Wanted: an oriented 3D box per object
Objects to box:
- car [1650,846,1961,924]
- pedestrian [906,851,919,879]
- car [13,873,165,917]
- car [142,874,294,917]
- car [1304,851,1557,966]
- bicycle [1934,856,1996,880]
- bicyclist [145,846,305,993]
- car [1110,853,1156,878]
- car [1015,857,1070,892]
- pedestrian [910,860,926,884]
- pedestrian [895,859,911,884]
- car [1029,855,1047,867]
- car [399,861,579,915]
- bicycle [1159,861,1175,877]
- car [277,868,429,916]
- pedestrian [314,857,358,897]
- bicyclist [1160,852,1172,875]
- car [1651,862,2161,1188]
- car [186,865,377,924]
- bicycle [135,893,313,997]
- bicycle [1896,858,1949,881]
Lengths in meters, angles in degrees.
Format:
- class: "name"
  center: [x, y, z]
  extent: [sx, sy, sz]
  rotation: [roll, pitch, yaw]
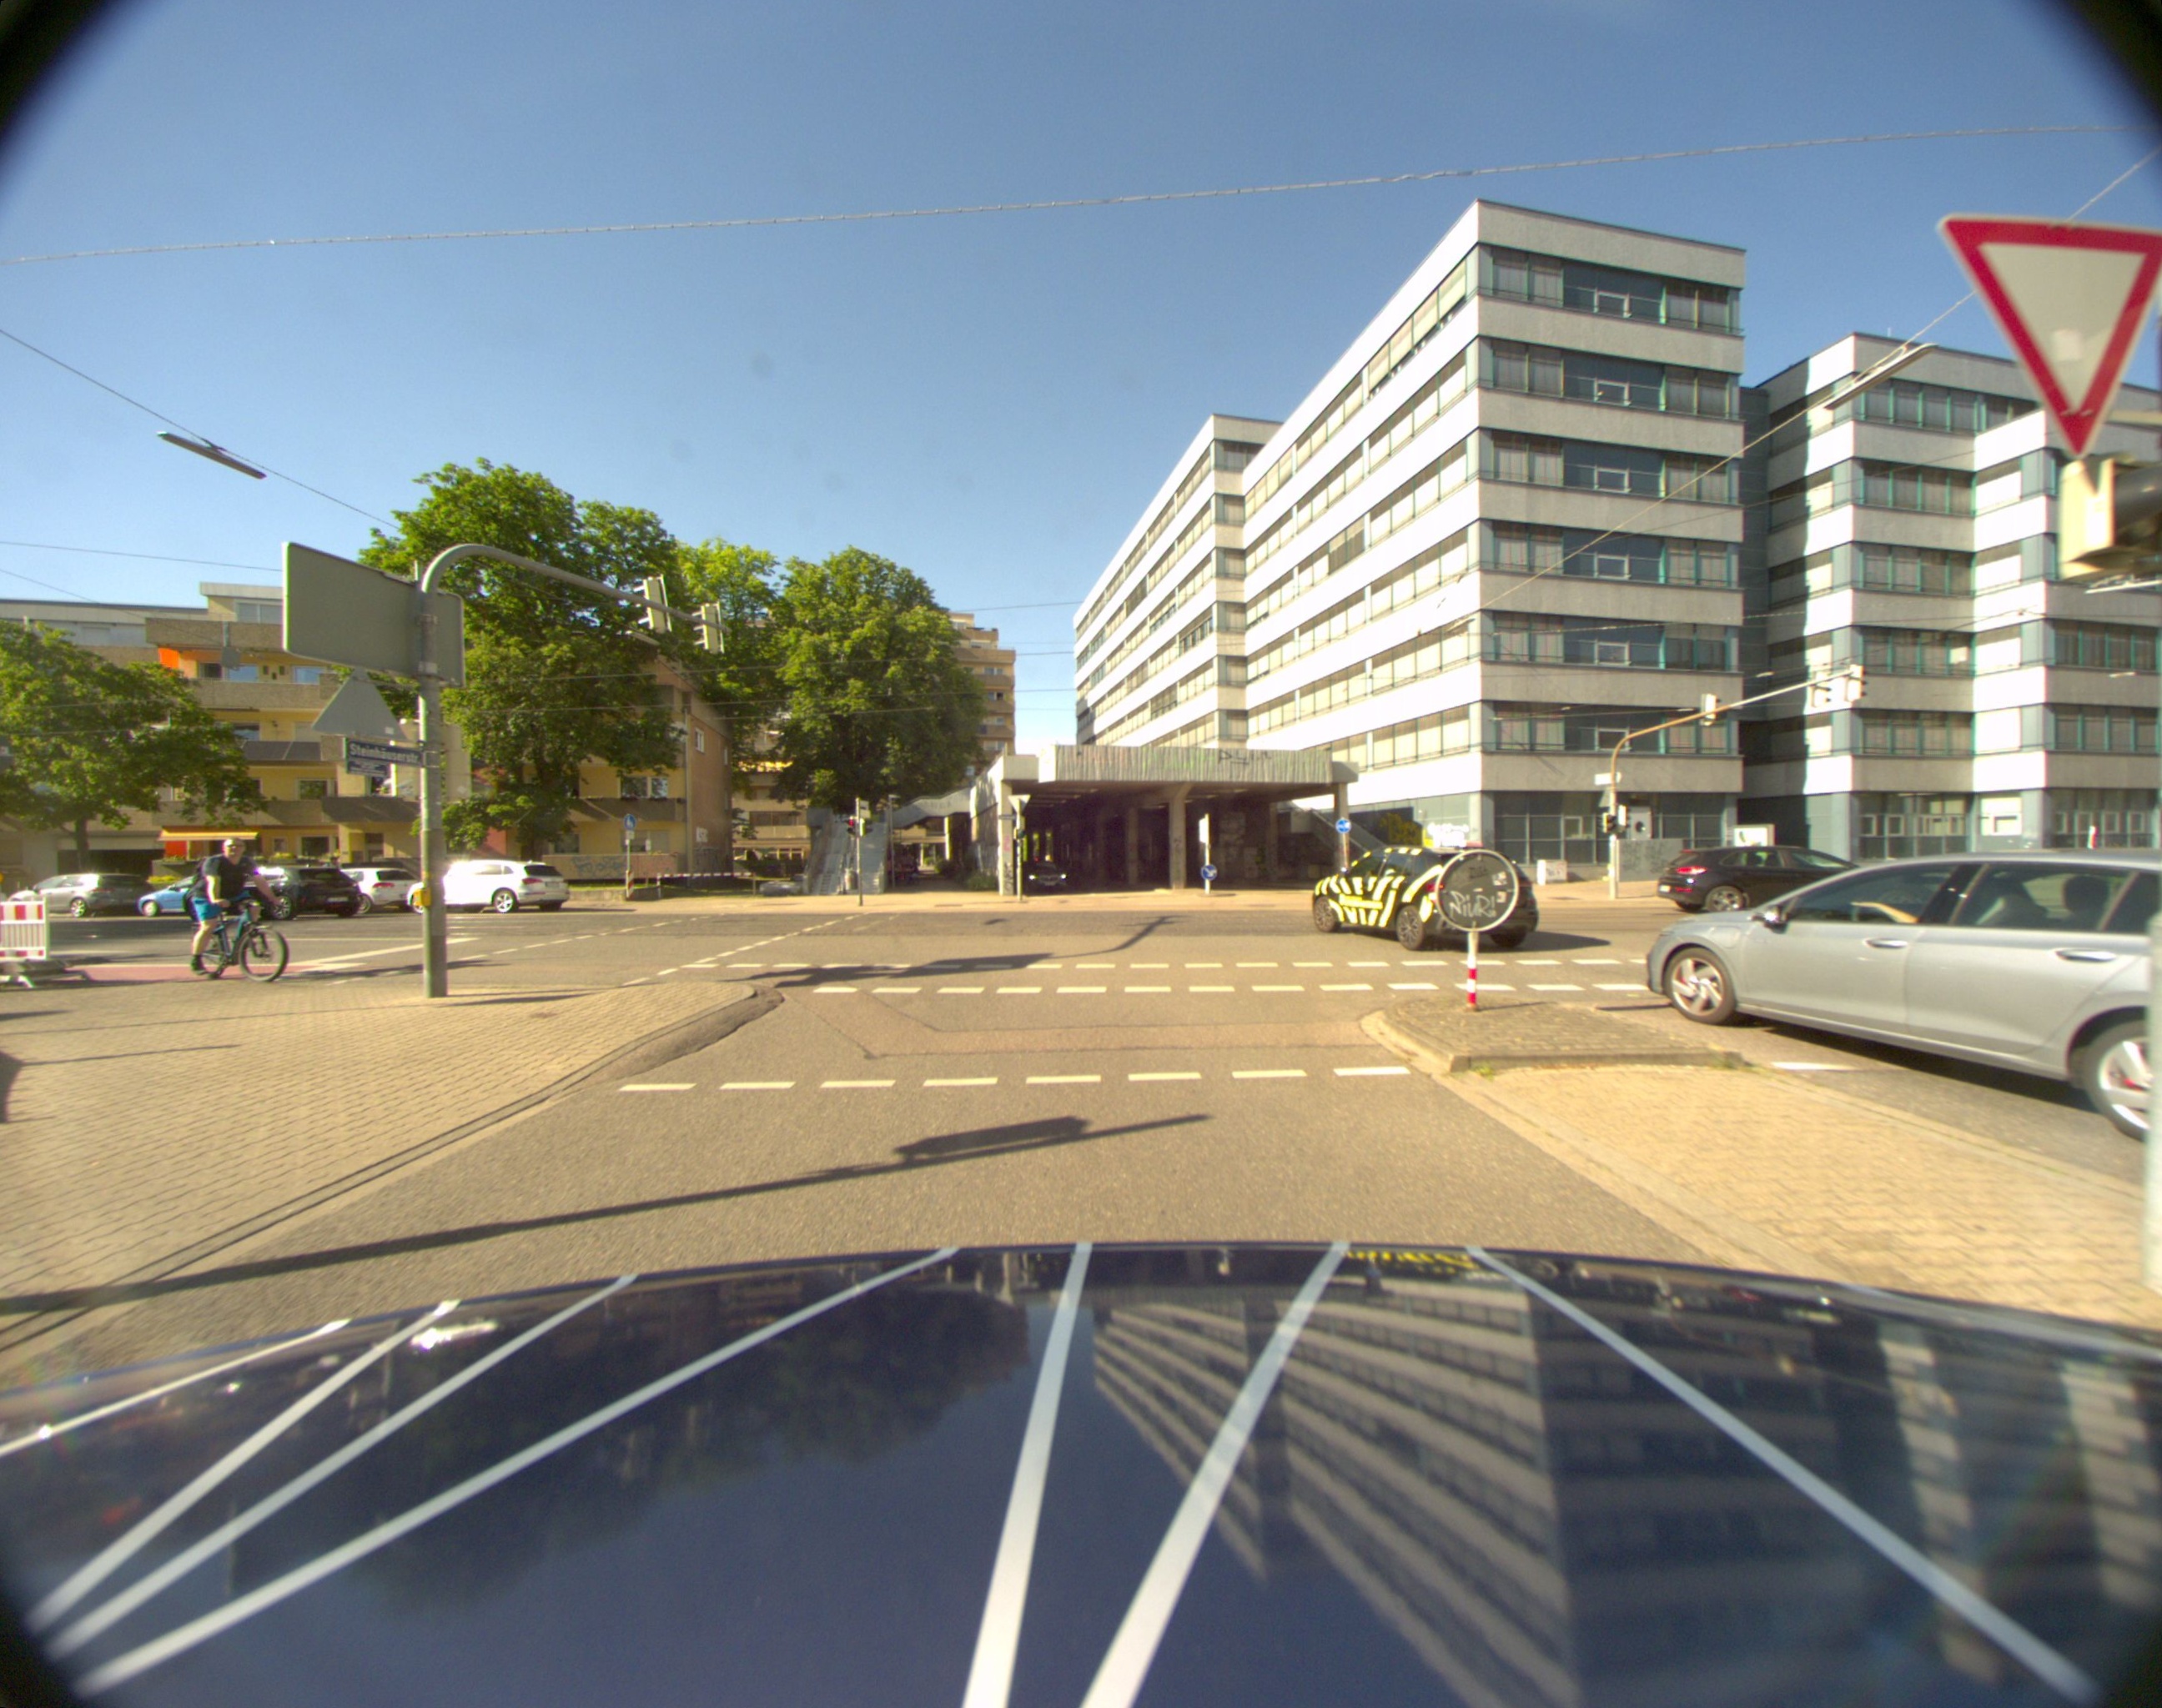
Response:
- class: "car"
  center: [14.680, 0.578, 15.763]
  extent: [4.315, 1.443, 1.810]
  rotation: [0, 1, 23]
- class: "pedestrian"
  center: [-10.144, 0.661, 45.730]
  extent: [0.659, 1.681, 0.588]
  rotation: [-1, 1, -19]
- class: "car"
  center: [-33.647, 1.384, 25.822]
  extent: [3.366, 1.452, 1.485]
  rotation: [0, -1, 3]
- class: "car"
  center: [-28.890, 1.362, 25.503]
  extent: [3.289, 1.397, 1.667]
  rotation: [0, -1, 3]
- class: "car"
  center: [5.309, 0.728, 12.230]
  extent: [1.794, 1.505, 4.113]
  rotation: [-1, 0, -7]
- class: "bicycle"
  center: [39.432, 0.609, 33.937]
  extent: [0.487, 0.975, 1.899]
  rotation: [-2, 1, -3]
- class: "bicyclist"
  center: [-11.156, 0.821, 9.934]
  extent: [1.094, 1.820, 0.915]
  rotation: [0, 0, 8]
- class: "car"
  center: [3.472, 0.762, 51.191]
  extent: [1.891, 1.600, 4.143]
  rotation: [-1, 0, -14]
- class: "car"
  center: [-1.997, 0.964, 37.940]
  extent: [1.959, 1.546, 5.035]
  rotation: [-2, 0, -12]
- class: "pedestrian"
  center: [-8.826, 0.955, 41.115]
  extent: [0.725, 1.291, 0.588]
  rotation: [-1, 1, -19]
- class: "pedestrian"
  center: [-9.561, 0.931, 40.856]
  extent: [0.741, 1.291, 0.612]
  rotation: [-1, 1, -19]
- class: "car"
  center: [-5.212, 0.811, 92.054]
  extent: [1.663, 1.433, 3.459]
  rotation: [-1, 0, -12]
- class: "car"
  center: [-18.650, 1.040, 24.054]
  extent: [4.317, 1.610, 1.937]
  rotation: [0, 1, 6]
- class: "bicycle"
  center: [6.166, 1.077, 54.607]
  extent: [0.527, 1.084, 1.858]
  rotation: [-1, 0, -12]
- class: "car"
  center: [-23.998, 1.223, 25.127]
  extent: [3.504, 1.522, 1.657]
  rotation: [0, -1, 3]
- class: "pedestrian"
  center: [-29.317, 0.897, 29.907]
  extent: [0.932, 1.544, 0.879]
  rotation: [-1, 1, 16]
- class: "bicyclist"
  center: [6.132, 0.655, 54.638]
  extent: [0.608, 1.623, 0.909]
  rotation: [-1, 0, -12]
- class: "car"
  center: [5.938, 0.838, 4.759]
  extent: [1.712, 1.444, 3.849]
  rotation: [-1, 1, -3]
- class: "car"
  center: [-22.925, 1.141, 21.874]
  extent: [3.751, 1.509, 1.788]
  rotation: [-1, 0, 5]
- class: "bicycle"
  center: [-11.151, 1.157, 9.912]
  extent: [1.781, 1.258, 0.655]
  rotation: [0, 0, 8]
- class: "bicycle"
  center: [37.947, 0.678, 34.291]
  extent: [0.487, 0.975, 1.665]
  rotation: [-2, 1, -3]
